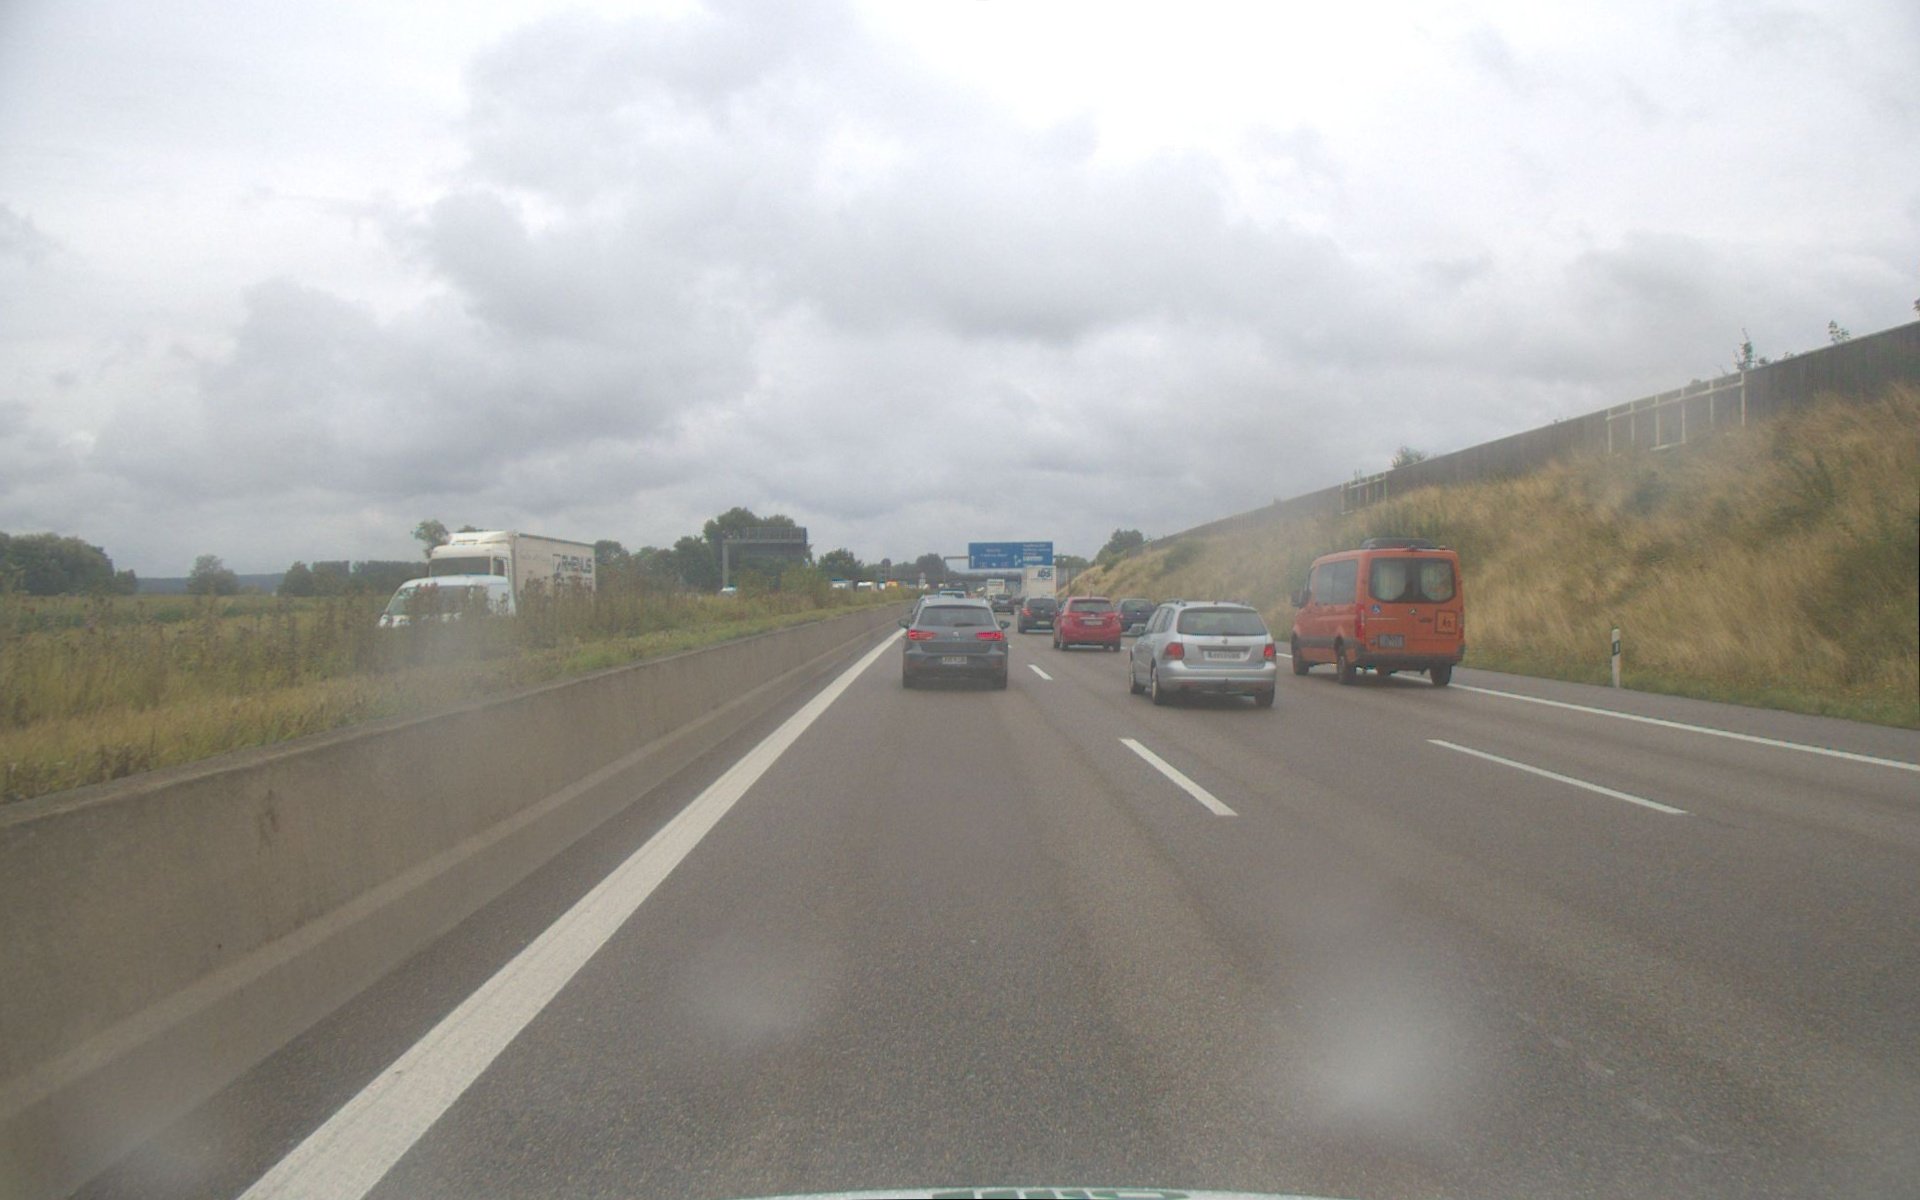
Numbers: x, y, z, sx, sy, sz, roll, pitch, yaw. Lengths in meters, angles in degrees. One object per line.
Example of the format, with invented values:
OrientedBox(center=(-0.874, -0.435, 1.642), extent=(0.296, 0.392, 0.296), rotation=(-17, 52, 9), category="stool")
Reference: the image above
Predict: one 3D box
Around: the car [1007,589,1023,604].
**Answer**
OrientedBox(center=(7.395, -0.467, 222.476), extent=(1.953, 1.892, 4.390), rotation=(0, 0, -1), category="car")

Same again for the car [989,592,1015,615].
OrientedBox(center=(3.208, 0.241, 126.790), extent=(1.808, 1.716, 3.999), rotation=(1, 0, -2), category="car")

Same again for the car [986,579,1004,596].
OrientedBox(center=(4.246, -1.553, 201.976), extent=(1.953, 2.049, 3.999), rotation=(-1, 0, -2), category="car")

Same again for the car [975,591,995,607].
OrientedBox(center=(2.404, -0.095, 159.107), extent=(1.716, 1.544, 3.999), rotation=(0, 0, -1), category="car")

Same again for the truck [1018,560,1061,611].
OrientedBox(center=(7.251, -1.251, 153.495), extent=(3.216, 4.370, 19.033), rotation=(1, 0, 1), category="truck")

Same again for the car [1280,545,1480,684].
OrientedBox(center=(7.709, 0.216, 31.108), extent=(2.043, 2.355, 6.179), rotation=(0, 0, -2), category="car")

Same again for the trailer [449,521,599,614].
OrientedBox(center=(-17.953, -1.219, 69.237), extent=(2.855, 3.488, 13.239), rotation=(1, 0, -1), category="trailer")

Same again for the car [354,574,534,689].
OrientedBox(center=(-9.913, 0.551, 32.222), extent=(1.953, 2.049, 5.068), rotation=(0, 0, -1), category="car")

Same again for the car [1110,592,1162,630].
OrientedBox(center=(6.751, 0.414, 63.739), extent=(1.667, 1.426, 3.876), rotation=(1, 0, 1), category="car")

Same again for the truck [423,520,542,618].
OrientedBox(center=(-17.813, -1.108, 62.033), extent=(2.909, 3.488, 5.626), rotation=(1, 0, -2), category="truck")

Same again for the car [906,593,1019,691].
OrientedBox(center=(0.048, 0.650, 27.635), extent=(1.732, 1.493, 4.000), rotation=(1, 0, 0), category="car")

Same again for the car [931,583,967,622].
OrientedBox(center=(-0.545, 0.117, 82.193), extent=(1.670, 1.828, 3.855), rotation=(-2, 0, 0), category="car")

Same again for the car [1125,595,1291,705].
OrientedBox(center=(3.561, 0.667, 24.461), extent=(1.706, 1.450, 4.516), rotation=(-1, 0, -1), category="car")

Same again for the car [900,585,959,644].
OrientedBox(center=(-0.939, 0.457, 53.039), extent=(1.718, 1.780, 4.000), rotation=(1, 0, 1), category="car")

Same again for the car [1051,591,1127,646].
OrientedBox(center=(3.624, 0.496, 47.272), extent=(1.852, 1.472, 4.685), rotation=(0, 0, 1), category="car")

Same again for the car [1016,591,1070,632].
OrientedBox(center=(3.301, 0.432, 66.498), extent=(1.882, 1.548, 4.621), rotation=(0, 0, -1), category="car")
